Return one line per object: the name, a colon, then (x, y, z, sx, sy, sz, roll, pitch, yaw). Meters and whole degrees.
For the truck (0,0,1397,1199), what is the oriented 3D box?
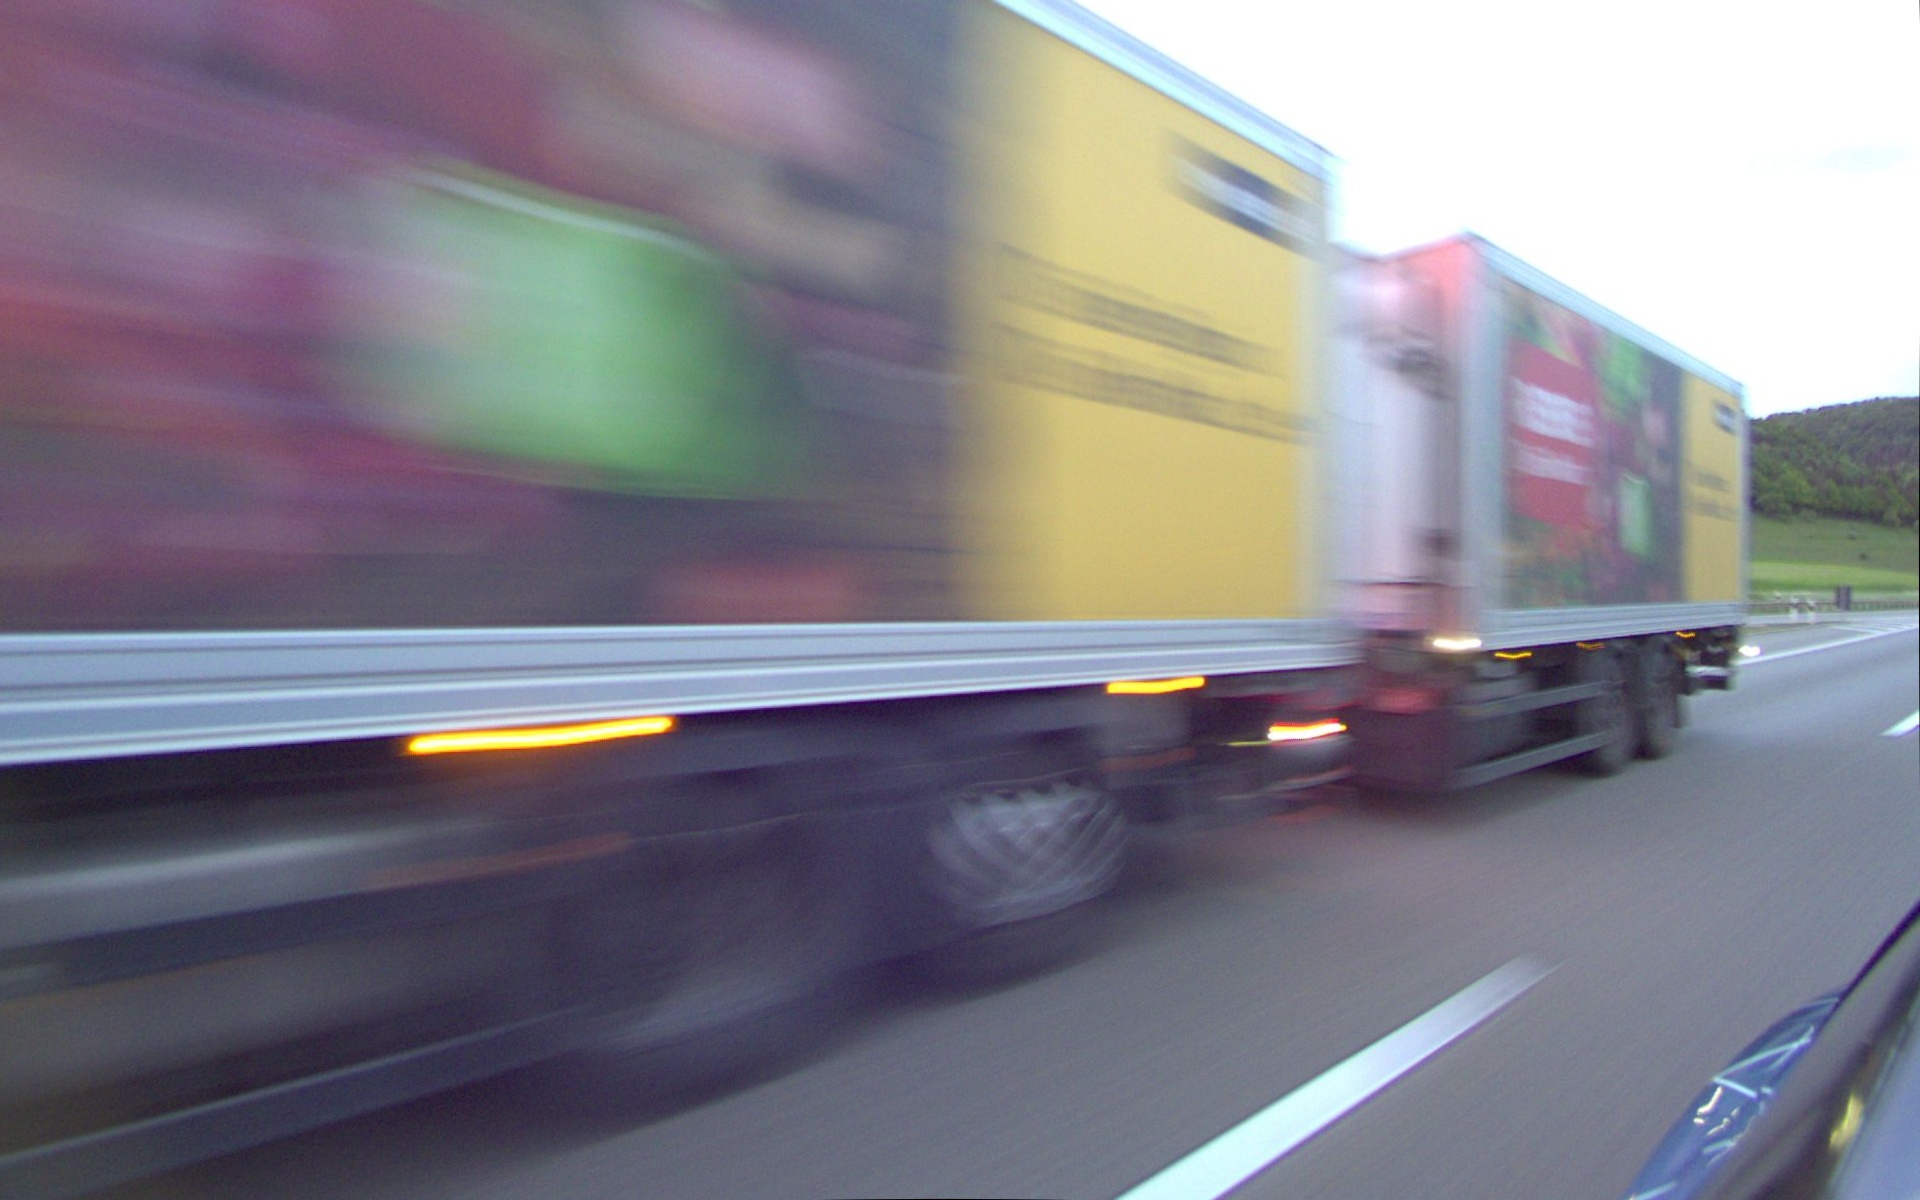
truck: (-2.419, -0.449, 2.929, 10.206, 3.874, 2.621, -1, 2, -41)

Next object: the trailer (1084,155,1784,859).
trailer: (5.066, -0.603, 9.454, 8.724, 3.874, 2.621, -1, 2, -41)
